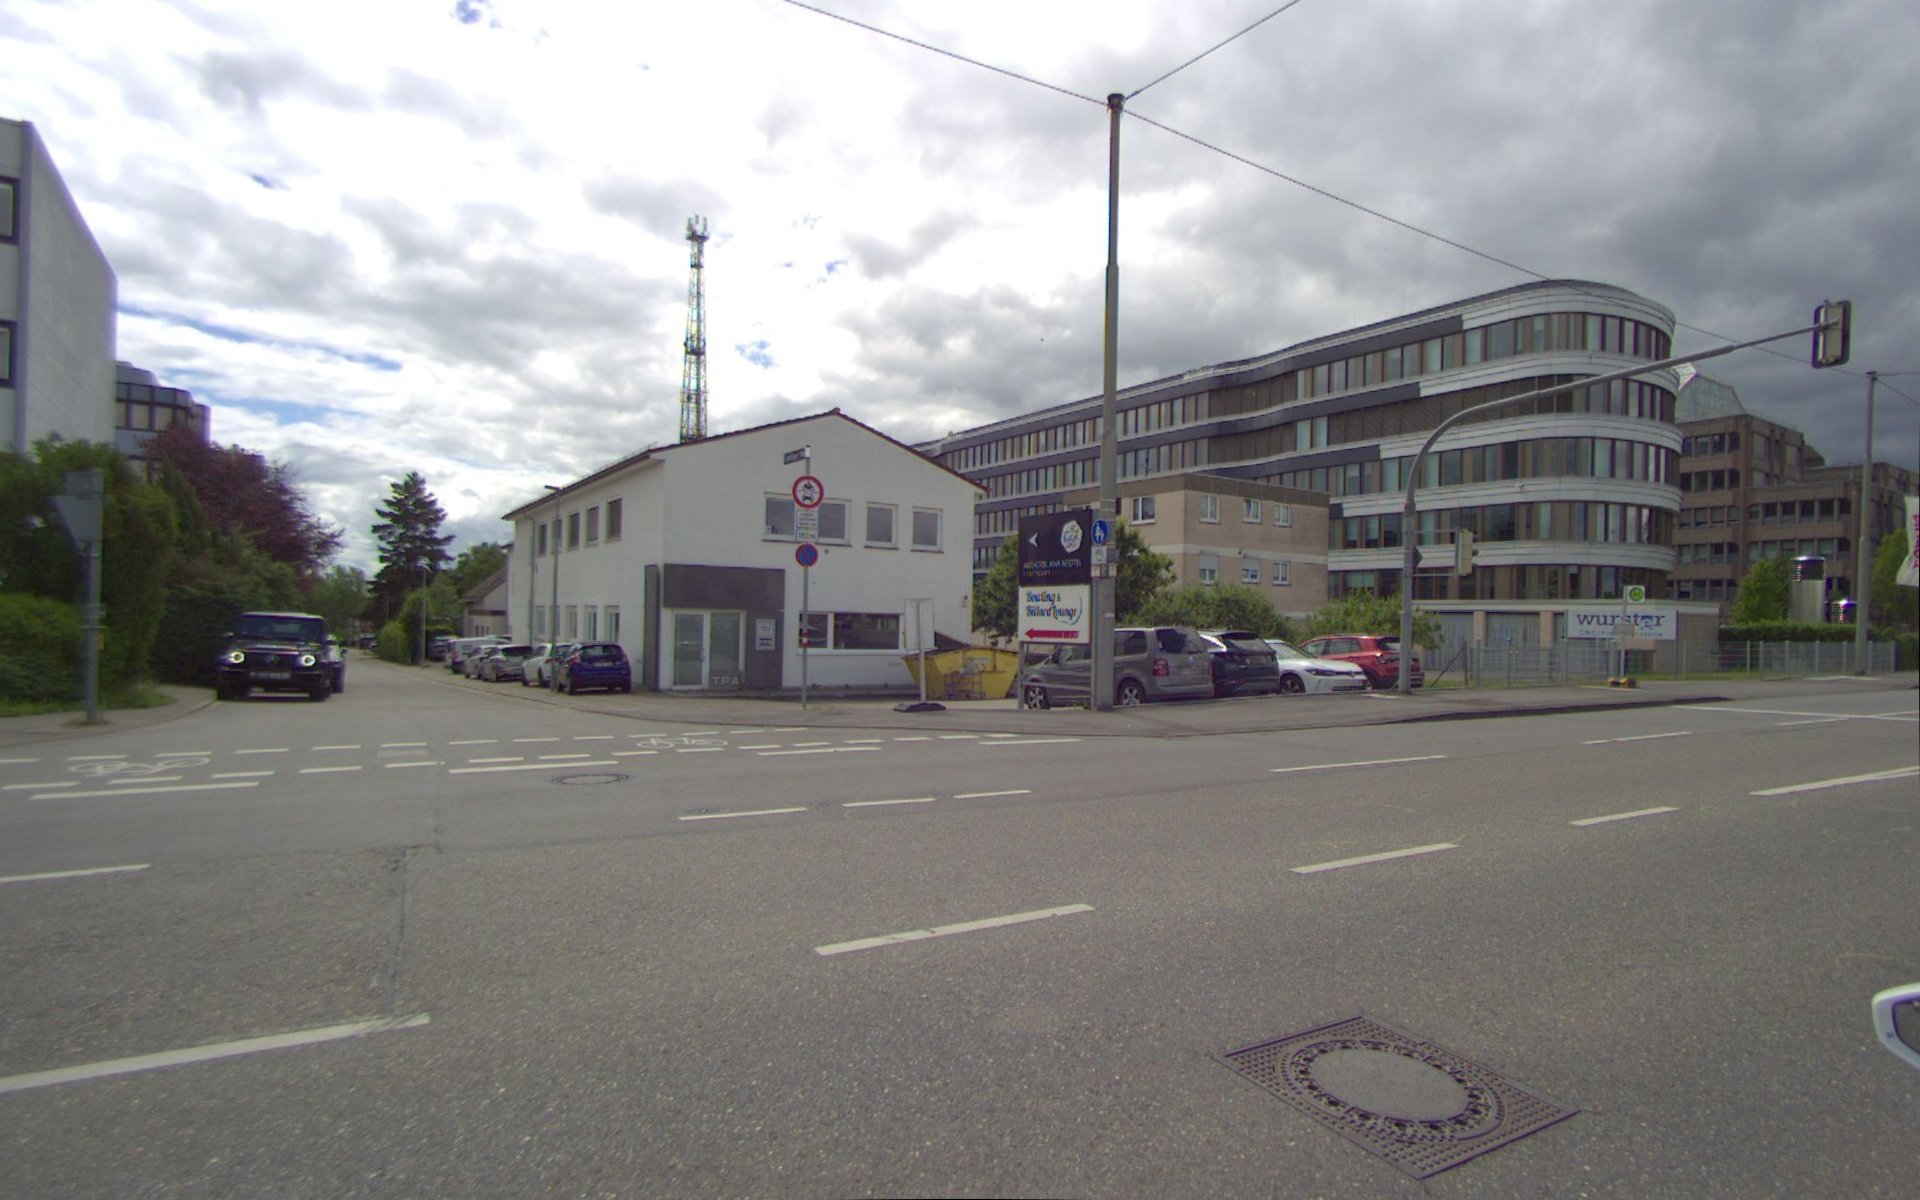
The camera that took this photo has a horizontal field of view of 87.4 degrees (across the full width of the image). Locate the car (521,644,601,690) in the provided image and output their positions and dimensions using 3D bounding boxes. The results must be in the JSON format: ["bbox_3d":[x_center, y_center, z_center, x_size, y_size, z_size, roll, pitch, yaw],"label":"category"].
[{"bbox_3d":[-13.639,2.252,34.208,1.791,1.438,3.904,0,-3,-33],"label":"car"}]

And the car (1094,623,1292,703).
[{"bbox_3d":[4.844,1.404,21.409,1.835,1.442,3.969,2,-7,-32],"label":"car"}]

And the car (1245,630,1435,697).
[{"bbox_3d":[9.068,1.591,24.268,1.828,1.387,3.969,2,-7,-32],"label":"car"}]

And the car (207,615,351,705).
[{"bbox_3d":[-15.464,1.413,23.095,2.144,1.816,4.736,4,-5,-28],"label":"car"}]

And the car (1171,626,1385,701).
[{"bbox_3d":[7.004,1.482,22.511,1.965,1.404,4.198,3,-8,-35],"label":"car"}]

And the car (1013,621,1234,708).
[{"bbox_3d":[3.077,1.306,19.653,1.890,1.415,4.066,1,-6,-37],"label":"car"}]

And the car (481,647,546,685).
[{"bbox_3d":[-18.150,2.663,40.720,1.791,1.401,3.904,0,-3,-33],"label":"car"}]

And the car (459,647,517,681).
[{"bbox_3d":[-21.129,2.835,44.924,1.791,1.401,3.904,0,-3,-33],"label":"car"}]

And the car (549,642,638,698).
[{"bbox_3d":[-10.597,1.986,28.893,1.789,1.438,3.909,-1,-2,-30],"label":"car"}]

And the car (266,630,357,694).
[{"bbox_3d":[-18.866,1.868,29.399,1.977,1.727,3.970,2,-5,-30],"label":"car"}]

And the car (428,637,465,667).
[{"bbox_3d":[-34.917,3.507,68.291,1.977,1.728,3.967,2,1,-30],"label":"car"}]
